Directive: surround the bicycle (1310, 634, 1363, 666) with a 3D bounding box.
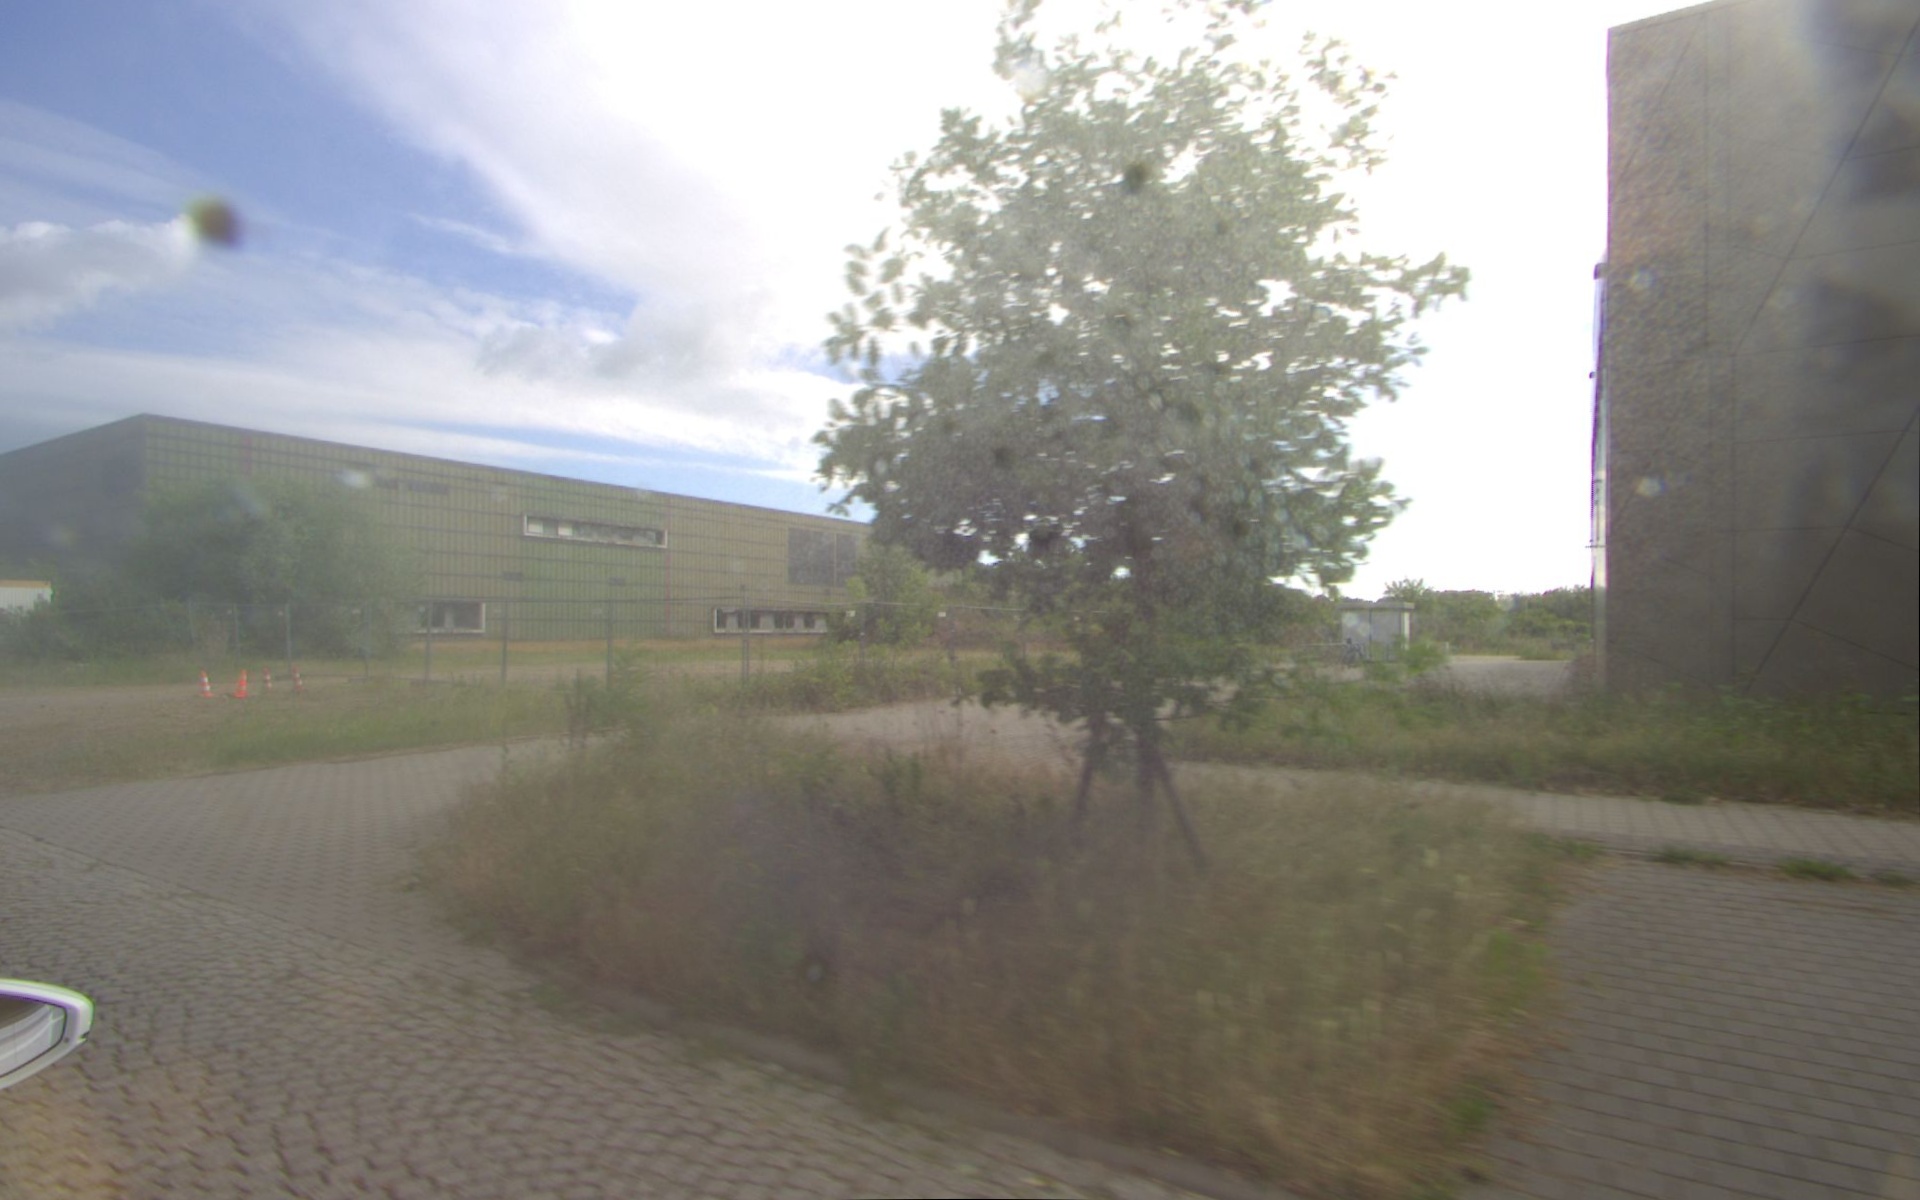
[{"bbox_3d":[13.653,1.811,36.335,1.739,1.112,0.520,-1,-3,34],"label":"bicycle"}]
